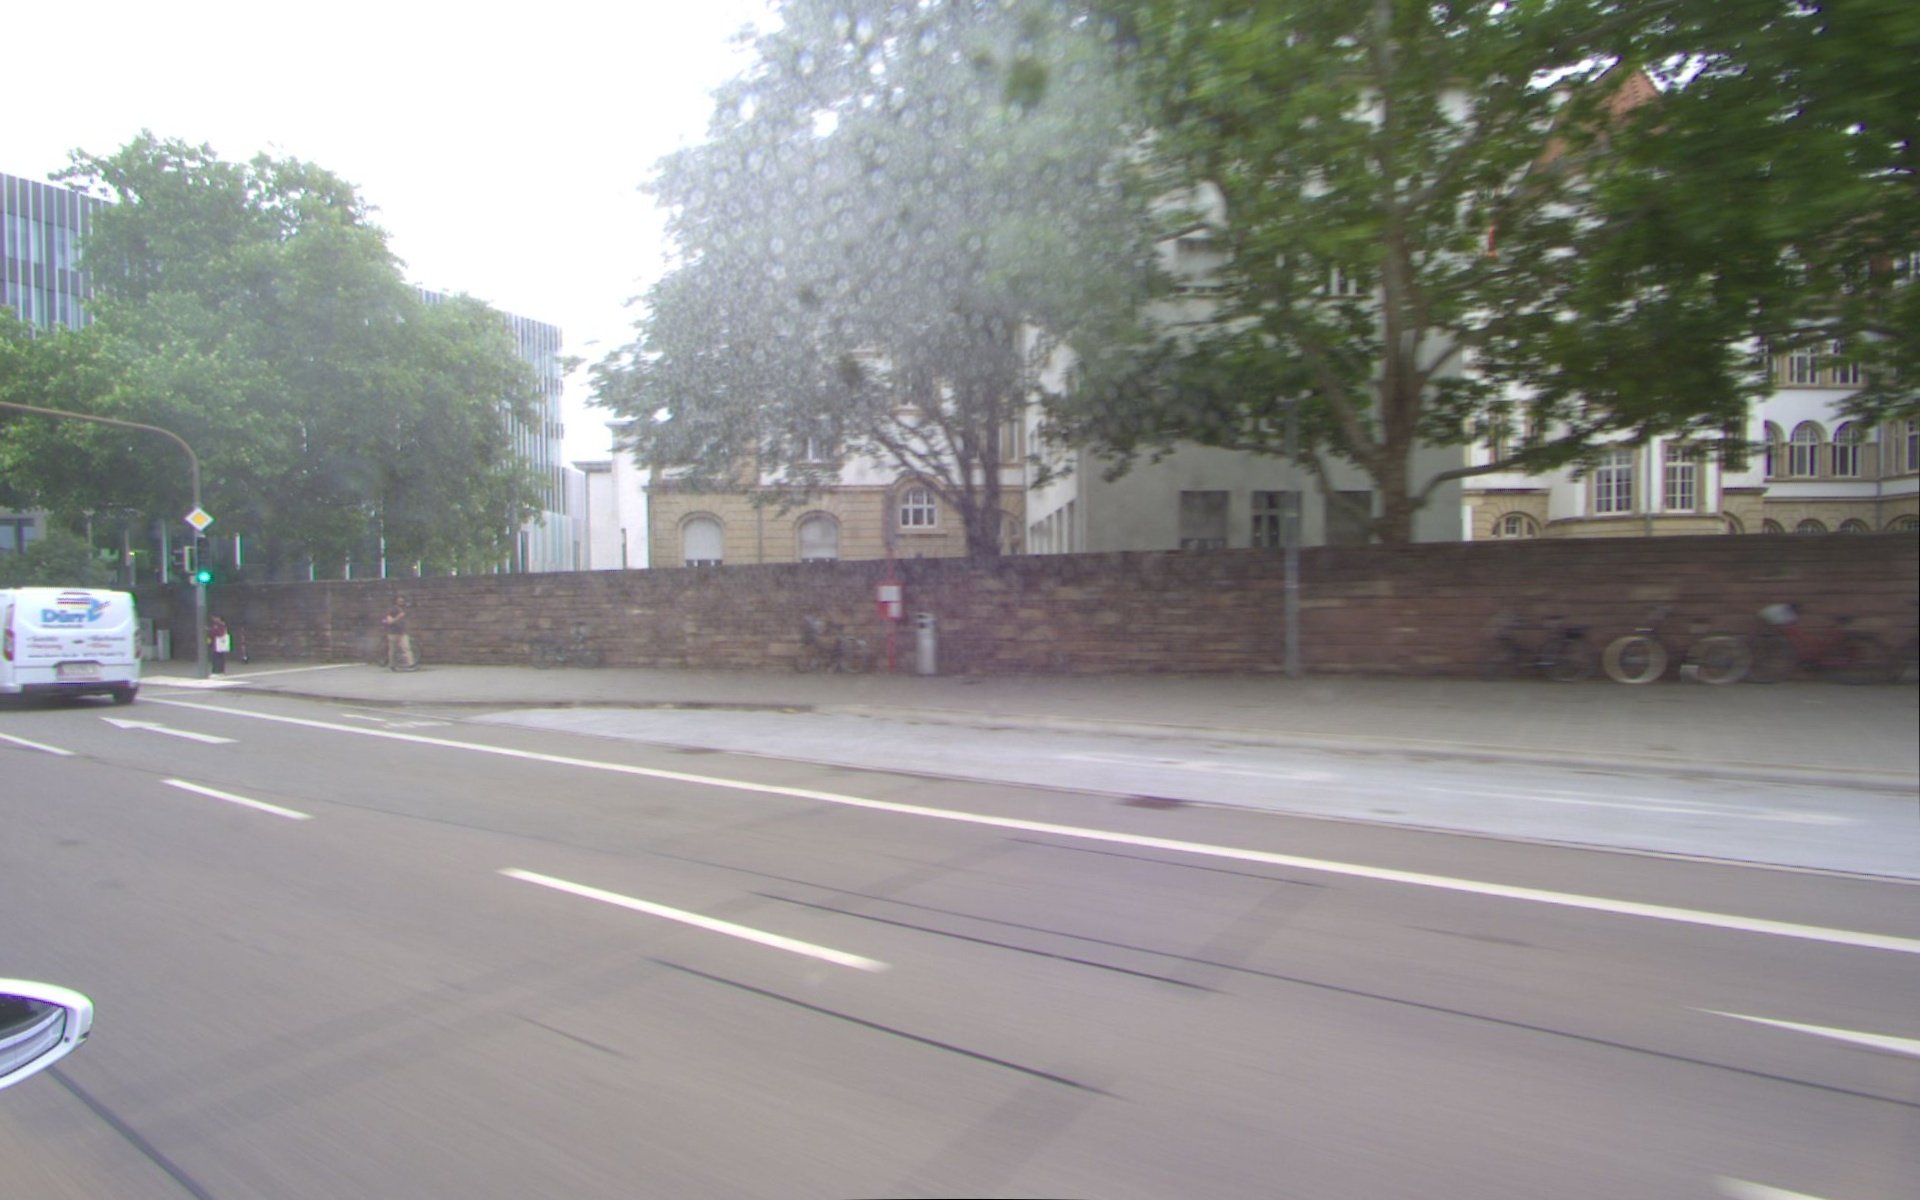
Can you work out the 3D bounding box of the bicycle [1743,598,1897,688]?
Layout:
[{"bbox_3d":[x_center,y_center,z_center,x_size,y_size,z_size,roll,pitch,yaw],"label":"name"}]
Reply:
[{"bbox_3d":[12.355,0.605,14.433,1.597,1.238,0.499,0,2,17],"label":"bicycle"}]

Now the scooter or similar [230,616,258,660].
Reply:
[{"bbox_3d":[-20.699,1.083,28.963,0.427,1.195,1.694,-3,2,-30],"label":"scooter or similar"}]

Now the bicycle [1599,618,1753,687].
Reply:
[{"bbox_3d":[10.631,0.767,14.929,1.738,0.964,0.654,0,2,17],"label":"bicycle"}]

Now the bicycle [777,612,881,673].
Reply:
[{"bbox_3d":[-2.632,0.841,20.142,1.890,1.143,0.849,-1,2,20],"label":"bicycle"}]

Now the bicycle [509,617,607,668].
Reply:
[{"bbox_3d":[-9.243,0.969,23.028,1.935,1.088,0.940,-1,2,20],"label":"bicycle"}]

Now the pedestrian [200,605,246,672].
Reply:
[{"bbox_3d":[-18.353,0.948,24.938,0.627,1.584,0.657,1,5,35],"label":"pedestrian"}]

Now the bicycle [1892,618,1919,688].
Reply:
[{"bbox_3d":[14.019,0.736,13.919,1.498,0.955,0.416,0,2,17],"label":"bicycle"}]

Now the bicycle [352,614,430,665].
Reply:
[{"bbox_3d":[-14.458,0.984,25.427,1.925,1.190,0.801,0,3,30],"label":"bicycle"}]

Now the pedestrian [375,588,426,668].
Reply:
[{"bbox_3d":[-13.365,0.648,23.928,1.018,1.846,0.629,1,2,35],"label":"pedestrian"}]

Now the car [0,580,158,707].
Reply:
[{"bbox_3d":[-16.228,0.720,17.730,4.283,1.997,1.962,0,-1,34],"label":"car"}]

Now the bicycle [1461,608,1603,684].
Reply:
[{"bbox_3d":[8.806,0.709,15.486,1.757,1.115,0.720,-1,2,6],"label":"bicycle"}]
